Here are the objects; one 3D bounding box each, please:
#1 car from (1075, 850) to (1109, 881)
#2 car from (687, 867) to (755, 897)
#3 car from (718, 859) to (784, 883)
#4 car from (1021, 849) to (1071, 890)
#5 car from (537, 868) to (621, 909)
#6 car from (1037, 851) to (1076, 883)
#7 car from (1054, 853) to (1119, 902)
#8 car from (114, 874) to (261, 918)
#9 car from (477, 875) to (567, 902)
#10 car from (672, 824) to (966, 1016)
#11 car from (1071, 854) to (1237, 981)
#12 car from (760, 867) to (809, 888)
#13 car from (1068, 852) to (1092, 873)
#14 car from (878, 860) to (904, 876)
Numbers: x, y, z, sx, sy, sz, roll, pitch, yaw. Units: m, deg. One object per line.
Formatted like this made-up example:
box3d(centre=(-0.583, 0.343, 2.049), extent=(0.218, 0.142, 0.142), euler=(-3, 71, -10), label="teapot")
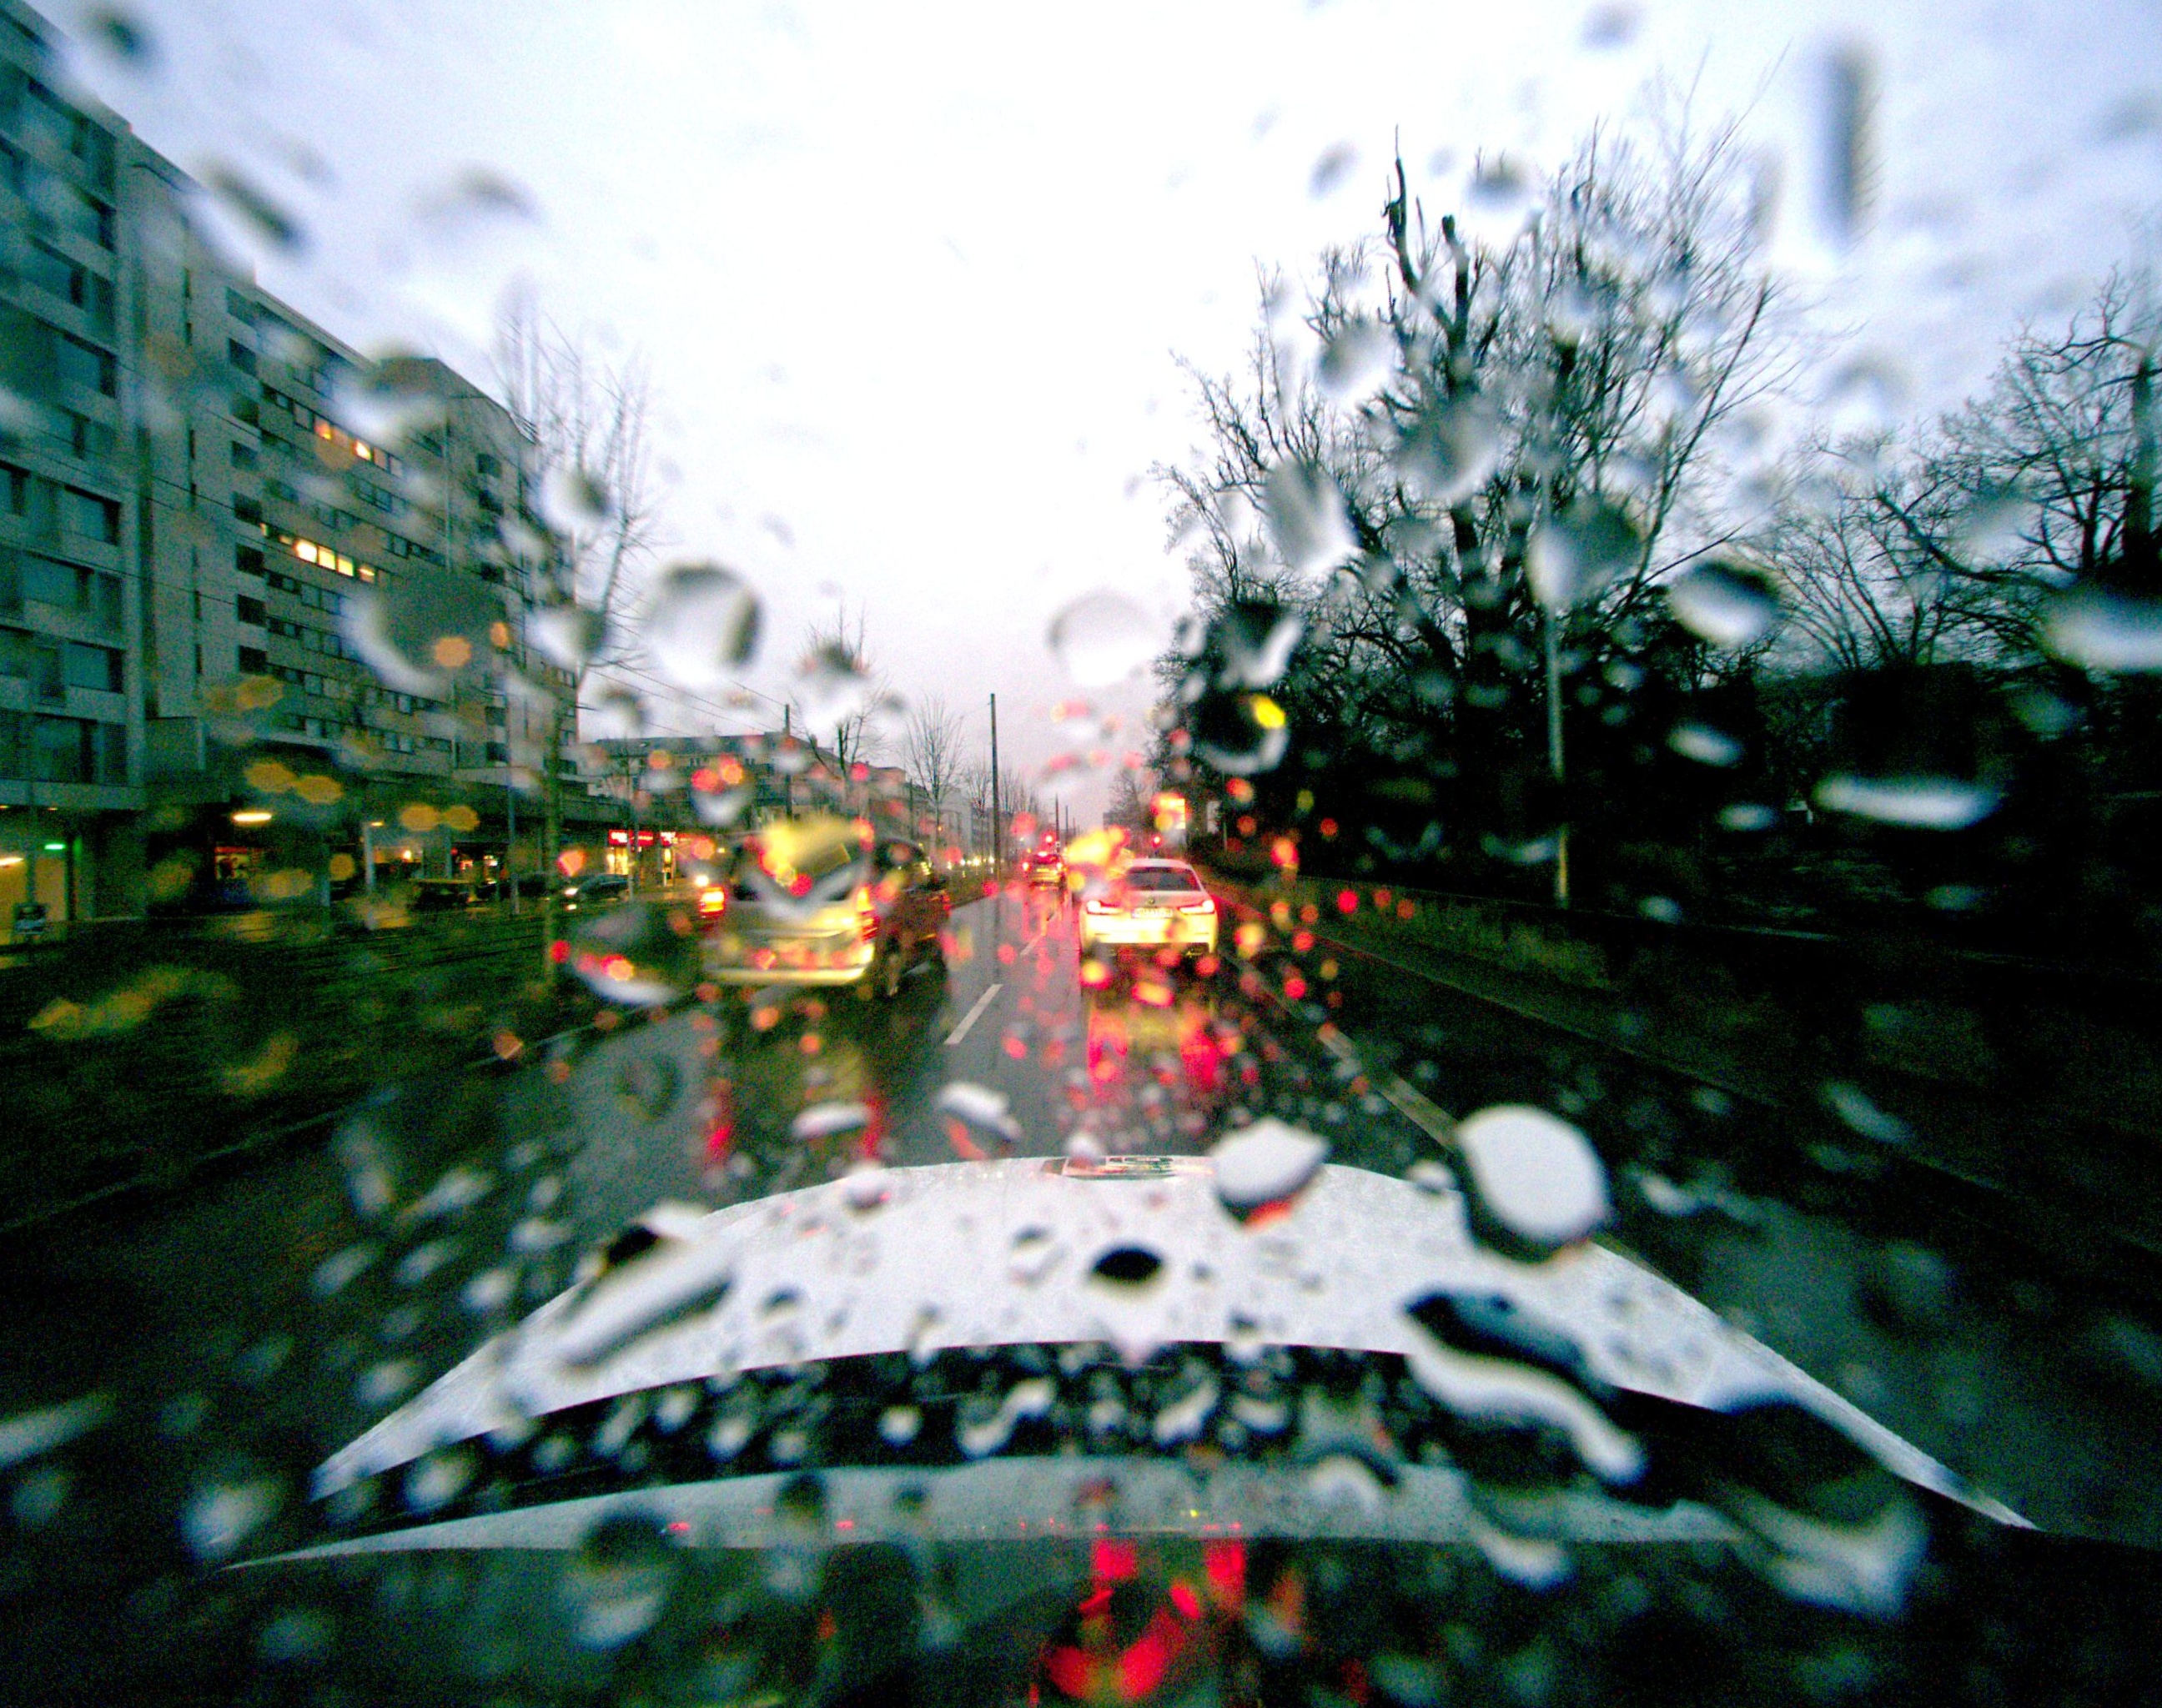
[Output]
box3d(centre=(0.654, 0.602, 45.548), extent=(1.800, 1.646, 4.002), euler=(0, 0, 2), label="car")
box3d(centre=(-19.223, 1.472, 43.652), extent=(1.889, 1.431, 3.708), euler=(-2, 0, 1), label="car")
box3d(centre=(-29.781, 1.515, 73.588), extent=(5.193, 1.912, 1.975), euler=(-2, 0, -44), label="car")
box3d(centre=(-1.457, 0.629, 35.226), extent=(1.800, 1.646, 4.002), euler=(0, 0, 2), label="car")
box3d(centre=(-25.345, 1.694, 41.257), extent=(1.717, 1.885, 3.926), euler=(-1, 0, 1), label="car")
box3d(centre=(-1.354, 0.712, 46.852), extent=(1.986, 1.755, 4.001), euler=(0, 0, 1), label="car")
box3d(centre=(0.242, 0.697, 26.547), extent=(1.928, 1.457, 4.165), euler=(-1, 0, 2), label="car")
box3d(centre=(-38.765, 1.789, 35.410), extent=(4.347, 1.695, 1.727), euler=(-2, 0, -1), label="car")
box3d(centre=(-30.759, 1.880, 44.956), extent=(4.015, 1.387, 1.916), euler=(1, -1, -33), label="car")
box3d(centre=(-2.712, 0.613, 9.673), extent=(1.786, 1.736, 4.541), euler=(0, 0, 3), label="car")
box3d(centre=(0.956, 0.773, 11.997), extent=(1.992, 1.508, 4.165), euler=(-1, 0, 2), label="car")
box3d(centre=(-23.381, 1.823, 64.434), extent=(1.889, 1.516, 4.794), euler=(-2, 0, 2), label="car")
box3d(centre=(-0.041, 0.703, 68.349), extent=(1.800, 1.646, 4.002), euler=(0, 0, 2), label="car")
box3d(centre=(-21.461, 1.587, 92.135), extent=(1.890, 1.719, 4.914), euler=(-1, 0, -1), label="car")
